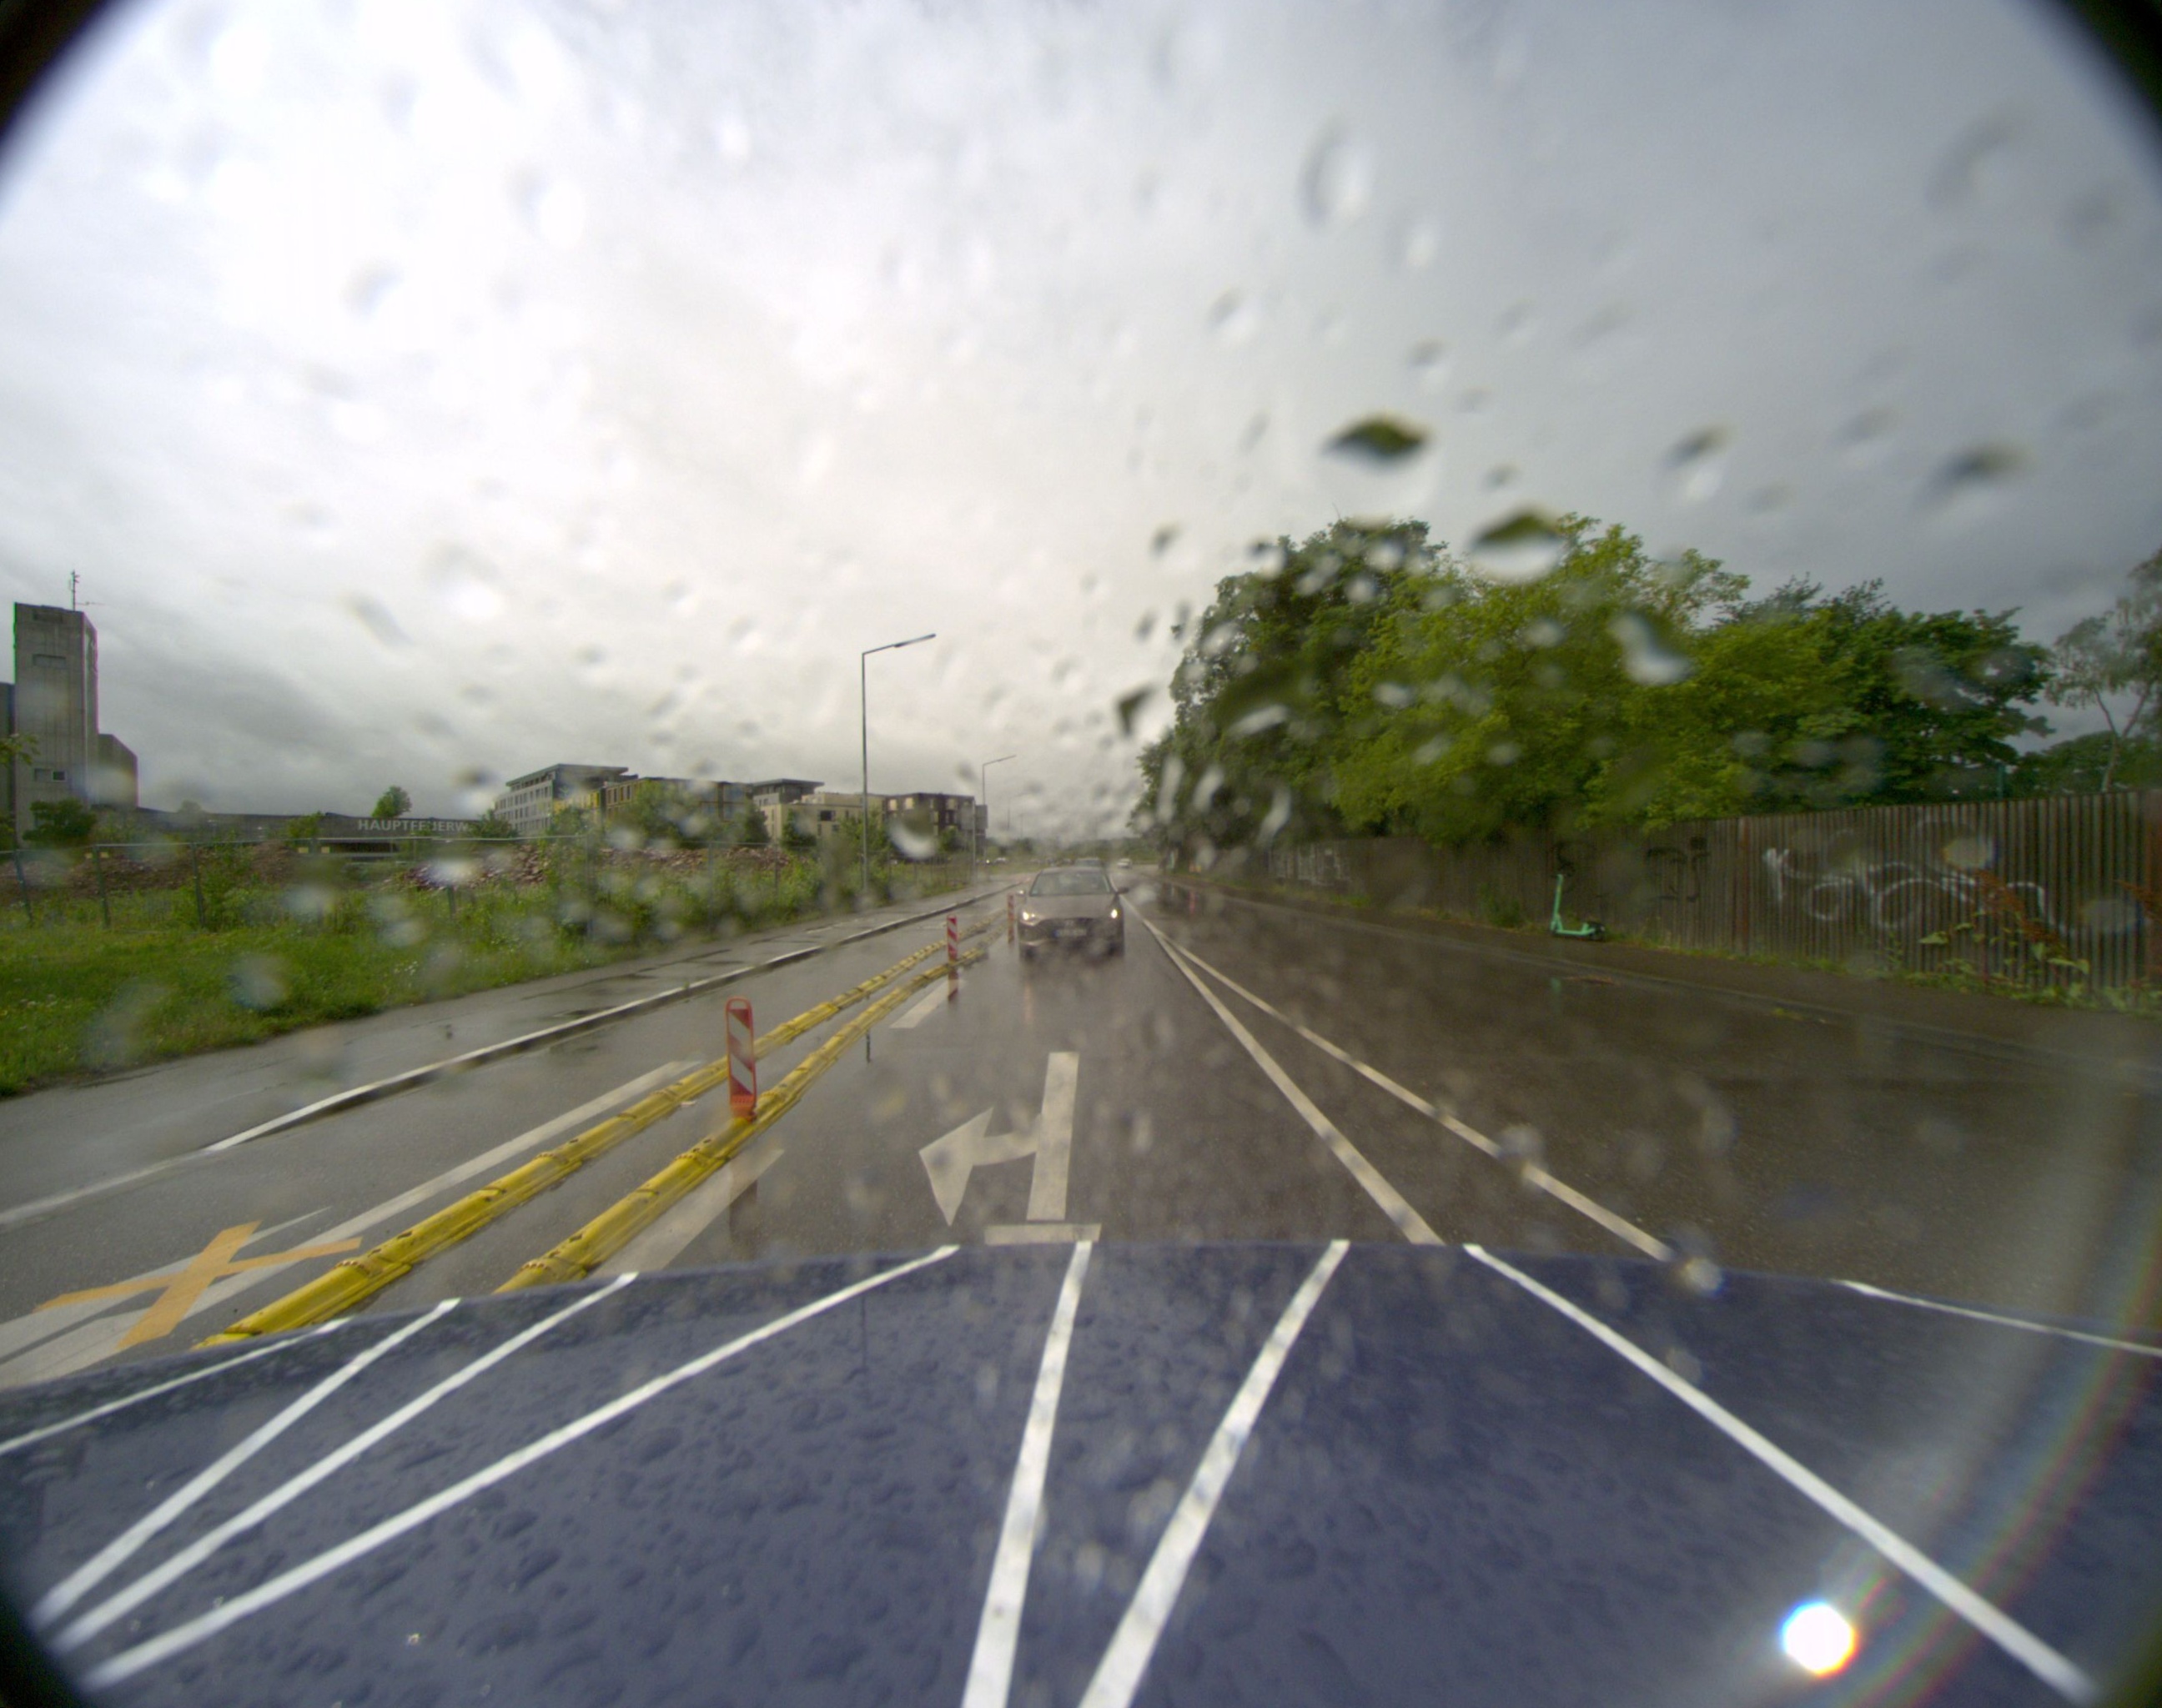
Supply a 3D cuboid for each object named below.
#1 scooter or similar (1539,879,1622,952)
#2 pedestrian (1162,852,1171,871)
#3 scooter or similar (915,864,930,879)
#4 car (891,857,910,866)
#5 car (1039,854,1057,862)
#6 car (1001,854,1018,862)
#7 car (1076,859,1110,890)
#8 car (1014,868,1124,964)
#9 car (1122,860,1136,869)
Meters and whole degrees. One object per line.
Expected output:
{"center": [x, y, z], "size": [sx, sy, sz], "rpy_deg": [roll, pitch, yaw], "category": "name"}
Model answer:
{"center": [8.656, 1.043, 13.221], "size": [0.564, 1.156, 1.207], "rpy_deg": [-1, 0, -6], "category": "scooter or similar"}
{"center": [7.976, 0.696, 70.889], "size": [0.841, 1.759, 0.644], "rpy_deg": [0, 1, 1], "category": "pedestrian"}
{"center": [-12.786, 1.417, 61.154], "size": [1.191, 1.143, 0.484], "rpy_deg": [0, 0, 34], "category": "scooter or similar"}
{"center": [-35.379, 1.423, 148.774], "size": [1.644, 1.573, 3.674], "rpy_deg": [-1, 0, 24], "category": "car"}
{"center": [-8.241, 0.999, 189.667], "size": [3.989, 2.002, 2.004], "rpy_deg": [-1, 0, 43], "category": "car"}
{"center": [-18.892, 0.976, 201.349], "size": [4.008, 2.002, 1.994], "rpy_deg": [-1, 0, -43], "category": "car"}
{"center": [0.621, 1.080, 41.002], "size": [1.734, 1.539, 3.770], "rpy_deg": [-1, 0, 0], "category": "car"}
{"center": [-0.232, 1.018, 13.942], "size": [1.724, 1.423, 3.818], "rpy_deg": [-1, 0, -1], "category": "car"}
{"center": [8.428, 1.814, 133.524], "size": [1.795, 1.623, 3.822], "rpy_deg": [-1, 0, 12], "category": "car"}
